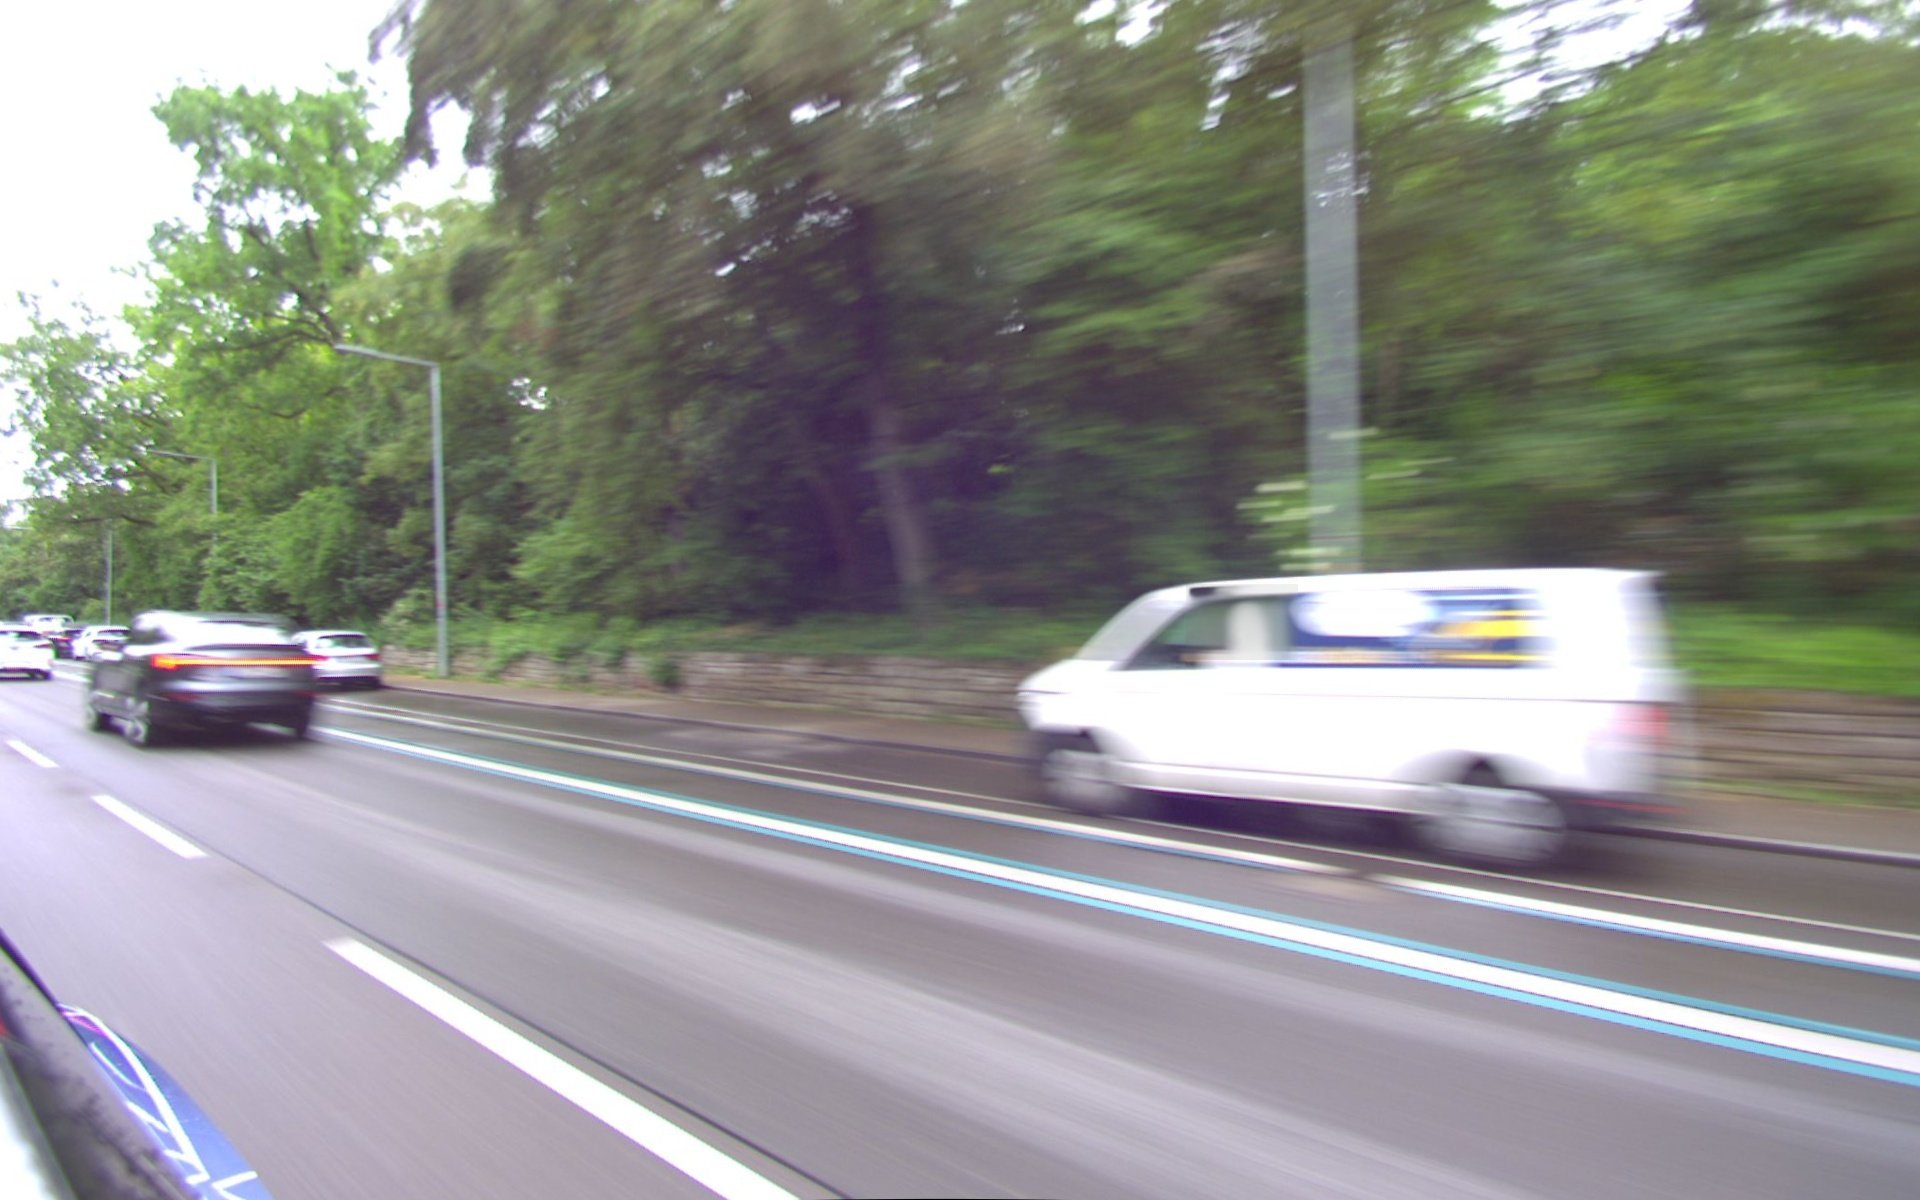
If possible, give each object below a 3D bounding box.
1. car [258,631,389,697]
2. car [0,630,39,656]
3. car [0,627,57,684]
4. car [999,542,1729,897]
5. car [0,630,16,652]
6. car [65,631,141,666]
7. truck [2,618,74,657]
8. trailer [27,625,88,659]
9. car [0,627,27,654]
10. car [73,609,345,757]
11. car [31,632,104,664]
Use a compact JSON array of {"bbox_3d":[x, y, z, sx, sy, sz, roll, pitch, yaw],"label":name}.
[{"bbox_3d":[-15.552,1.508,24.656,4.026,1.416,1.672,-2,-1,42],"label":"car"},{"bbox_3d":[-57.309,2.563,61.231,4.751,1.509,1.787,-1,-2,41],"label":"car"},{"bbox_3d":[-26.049,1.471,27.481,4.061,1.477,1.757,-1,-4,41],"label":"car"},{"bbox_3d":[2.928,0.744,8.068,5.009,2.020,1.955,-2,-1,37],"label":"car"},{"bbox_3d":[-66.702,2.858,69.770,4.550,1.486,1.877,-2,-2,40],"label":"car"},{"bbox_3d":[-36.688,2.057,43.300,4.353,1.446,1.736,-2,-2,40],"label":"car"},{"bbox_3d":[-49.749,2.006,54.585,5.152,2.029,2.073,-2,-2,38],"label":"truck"},{"bbox_3d":[-45.553,2.123,51.124,1.329,1.670,2.271,0,-1,-11],"label":"trailer"},{"bbox_3d":[-62.095,2.639,65.675,4.670,1.673,1.718,-2,-2,40],"label":"car"},{"bbox_3d":[-10.052,1.011,13.419,4.463,1.629,1.940,-2,-4,41],"label":"car"},{"bbox_3d":[-41.822,2.195,47.374,4.439,1.409,1.803,-1,-2,38],"label":"car"}]
